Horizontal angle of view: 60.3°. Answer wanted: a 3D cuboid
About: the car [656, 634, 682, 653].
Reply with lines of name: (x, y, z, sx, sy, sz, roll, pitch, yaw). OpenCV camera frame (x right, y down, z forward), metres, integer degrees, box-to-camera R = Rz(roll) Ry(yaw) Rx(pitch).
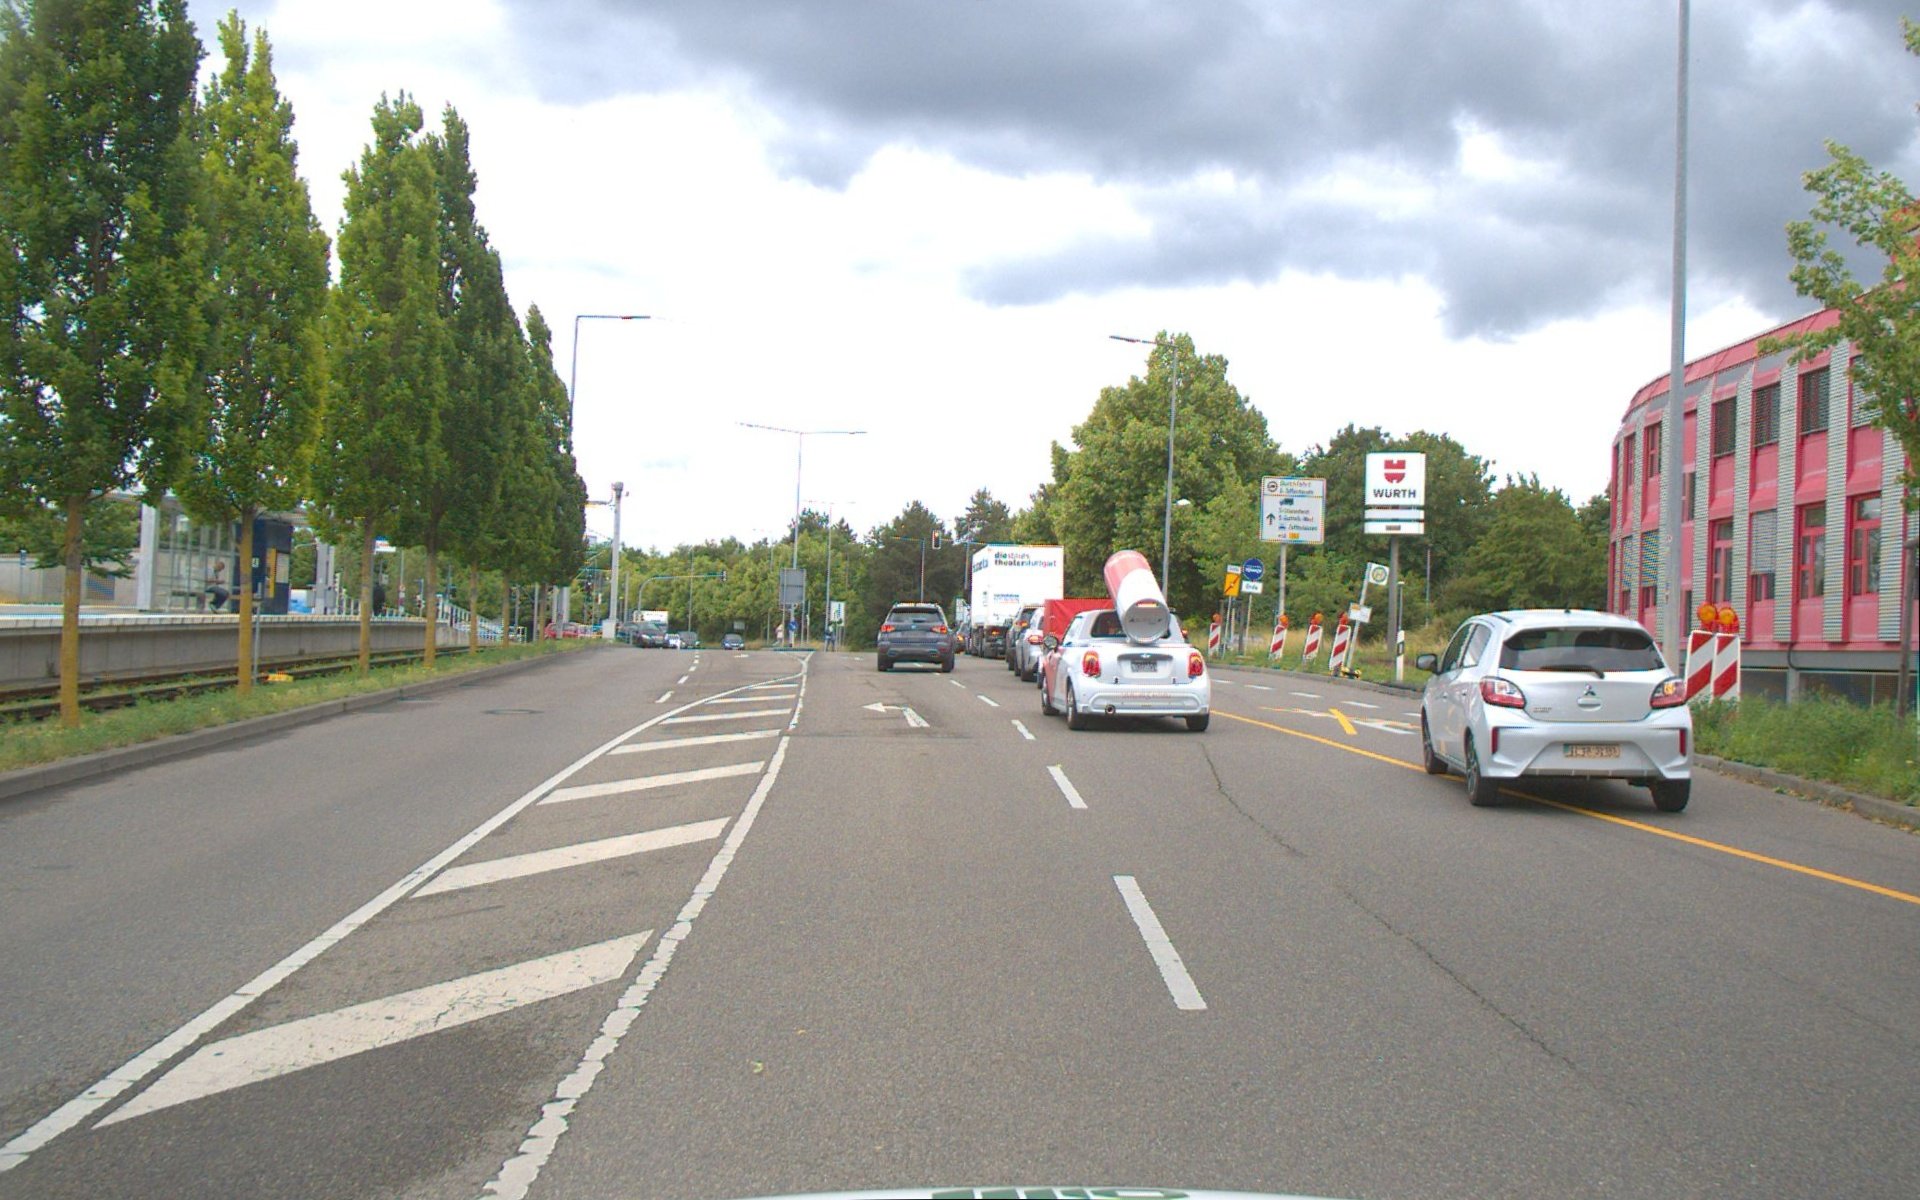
car: (-24.962, 3.717, 141.747, 1.740, 1.534, 3.744, -1, 1, -3)

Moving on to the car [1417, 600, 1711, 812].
car: (4.893, 0.767, 13.872, 1.588, 1.483, 3.692, 1, 0, 9)

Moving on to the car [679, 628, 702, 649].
car: (-24.242, 3.487, 148.851, 1.879, 1.758, 3.994, 0, 0, -7)

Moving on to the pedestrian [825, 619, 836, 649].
pedestrian: (-7.248, 1.873, 92.401, 0.575, 1.650, 0.423, 1, 1, -6)

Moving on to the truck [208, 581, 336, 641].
truck: (-44.497, 0.686, 107.129, 7.092, 3.661, 2.692, 1, 1, -1)

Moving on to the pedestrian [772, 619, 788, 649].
pedestrian: (-9.825, 1.859, 90.151, 0.847, 1.587, 0.517, 1, 1, -6)

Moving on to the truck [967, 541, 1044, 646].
truck: (1.657, -0.287, 61.959, 2.520, 3.770, 4.104, 1, 1, -3)

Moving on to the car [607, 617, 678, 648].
car: (-18.228, 1.861, 94.861, 3.620, 1.601, 1.730, 1, -2, 23)

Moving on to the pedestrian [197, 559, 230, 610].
pedestrian: (-19.162, -0.394, 42.464, 0.598, 1.291, 0.658, 1, 1, -10)

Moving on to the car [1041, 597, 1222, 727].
car: (2.084, 0.736, 21.017, 1.684, 1.483, 3.693, 1, -1, -4)

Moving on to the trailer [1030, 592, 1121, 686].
trailer: (2.095, 0.686, 30.629, 1.380, 1.622, 3.302, 1, 0, -1)

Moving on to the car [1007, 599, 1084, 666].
car: (2.095, 0.791, 41.533, 1.806, 1.588, 4.405, 0, 0, 1)

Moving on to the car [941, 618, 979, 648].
car: (-0.030, 1.664, 82.369, 1.515, 1.428, 3.995, 1, -2, -5)

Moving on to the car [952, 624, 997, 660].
car: (0.608, 1.785, 71.404, 1.775, 1.378, 4.117, 0, 0, -2)

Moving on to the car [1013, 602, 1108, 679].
car: (2.041, 0.806, 34.531, 1.637, 1.473, 4.488, 1, -1, -1)

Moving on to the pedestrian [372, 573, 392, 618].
pedestrian: (-23.893, -0.180, 68.385, 0.561, 1.860, 0.792, 2, -2, -8)

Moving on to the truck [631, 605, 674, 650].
truck: (-28.002, 2.476, 150.318, 2.618, 3.712, 9.457, 3, 0, -17)

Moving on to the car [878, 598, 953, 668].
car: (-1.097, 0.732, 38.762, 1.664, 1.512, 3.998, 0, 0, -3)

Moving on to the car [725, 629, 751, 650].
car: (-19.170, 3.380, 143.031, 1.878, 1.603, 3.998, 1, 1, -3)

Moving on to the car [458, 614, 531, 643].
car: (-28.722, 1.736, 102.106, 3.903, 1.623, 2.001, 1, 1, 4)

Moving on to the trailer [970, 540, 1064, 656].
trailer: (1.896, -0.184, 58.041, 2.515, 3.769, 7.760, 1, 2, -3)

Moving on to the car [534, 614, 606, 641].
car: (-23.840, 1.663, 101.040, 3.989, 1.514, 1.708, 1, -2, 20)
